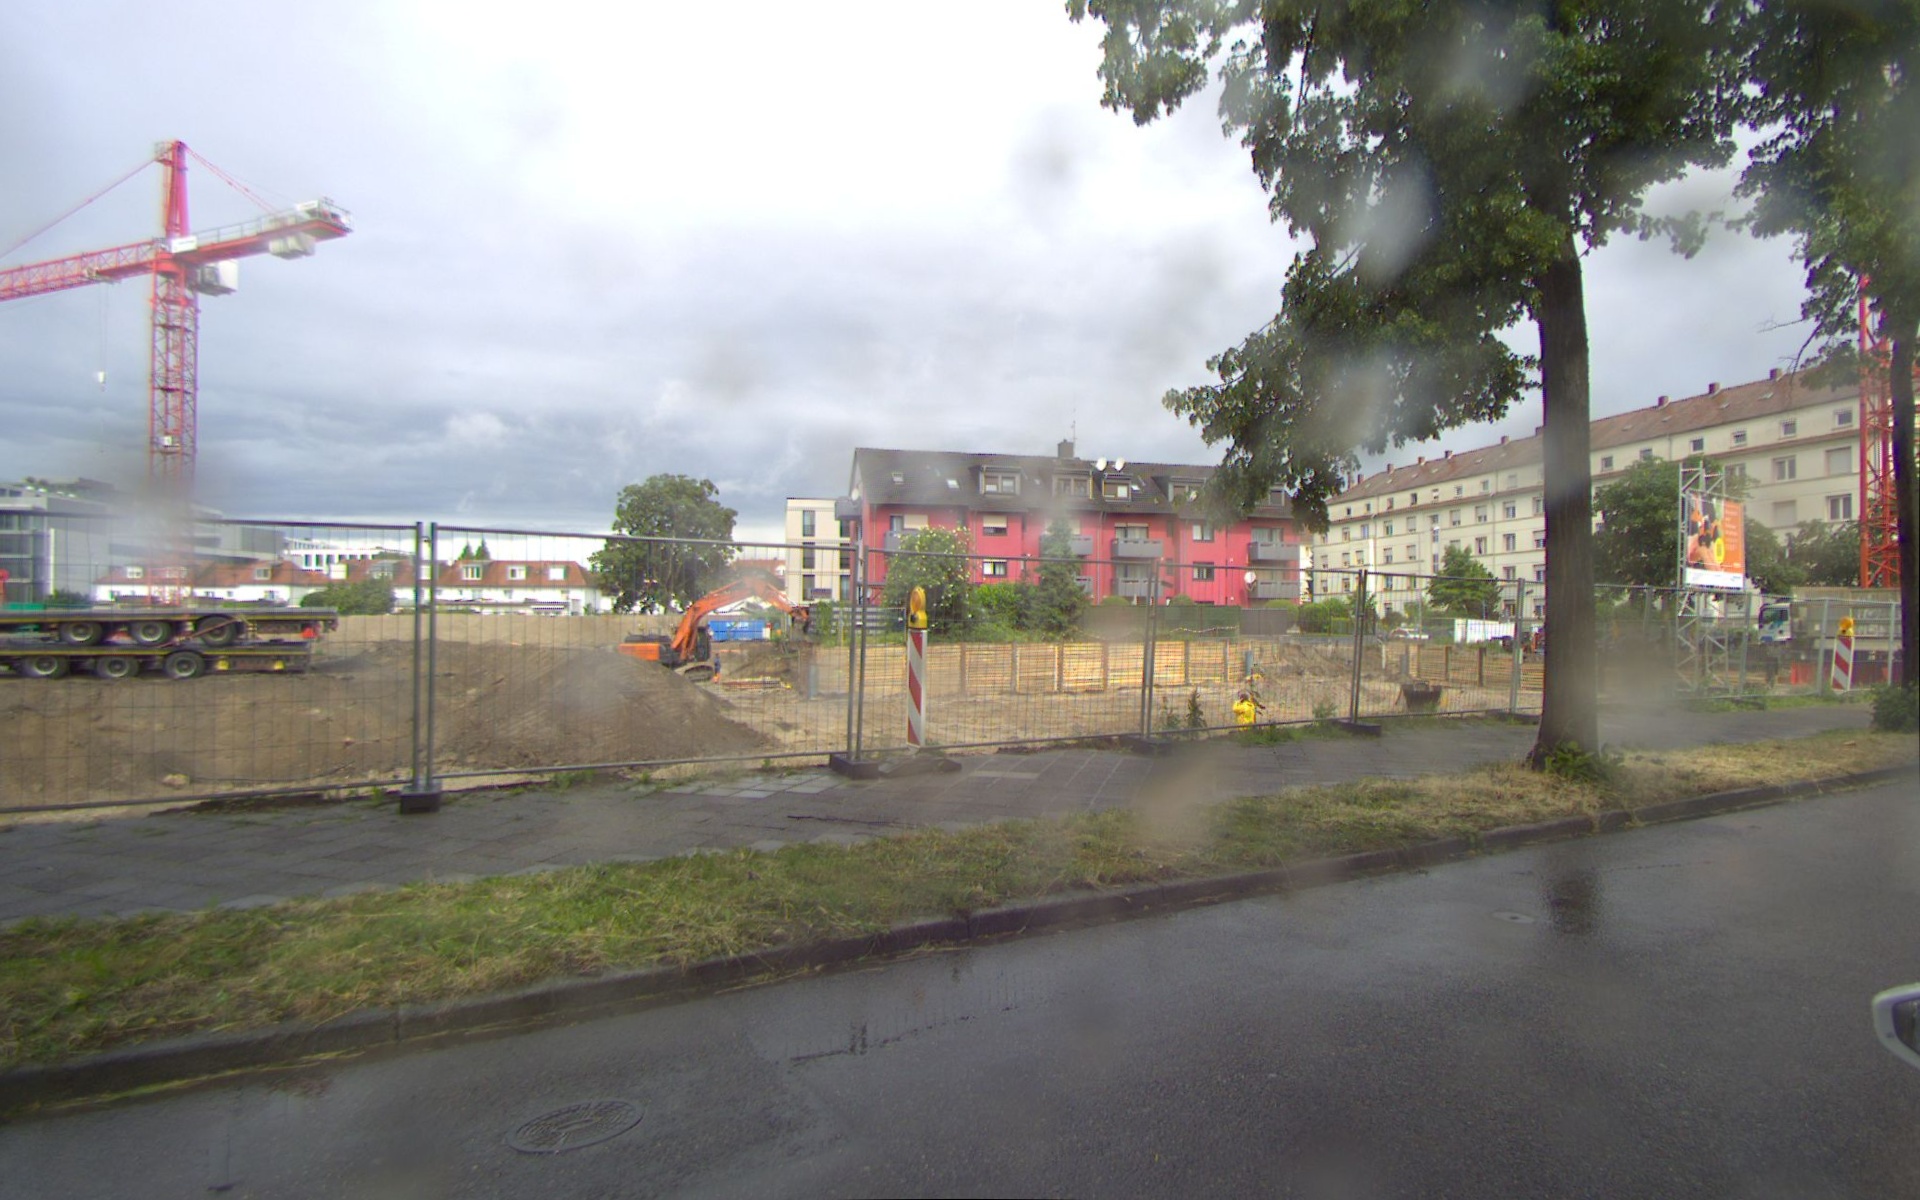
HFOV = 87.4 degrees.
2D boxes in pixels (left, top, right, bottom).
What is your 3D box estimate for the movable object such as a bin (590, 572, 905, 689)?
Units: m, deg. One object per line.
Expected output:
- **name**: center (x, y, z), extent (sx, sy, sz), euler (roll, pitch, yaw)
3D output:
- **movable object such as a bin**: center (-11.448, 1.605, 56.643), extent (16.430, 6.125, 6.885), euler (0, 0, -6)
